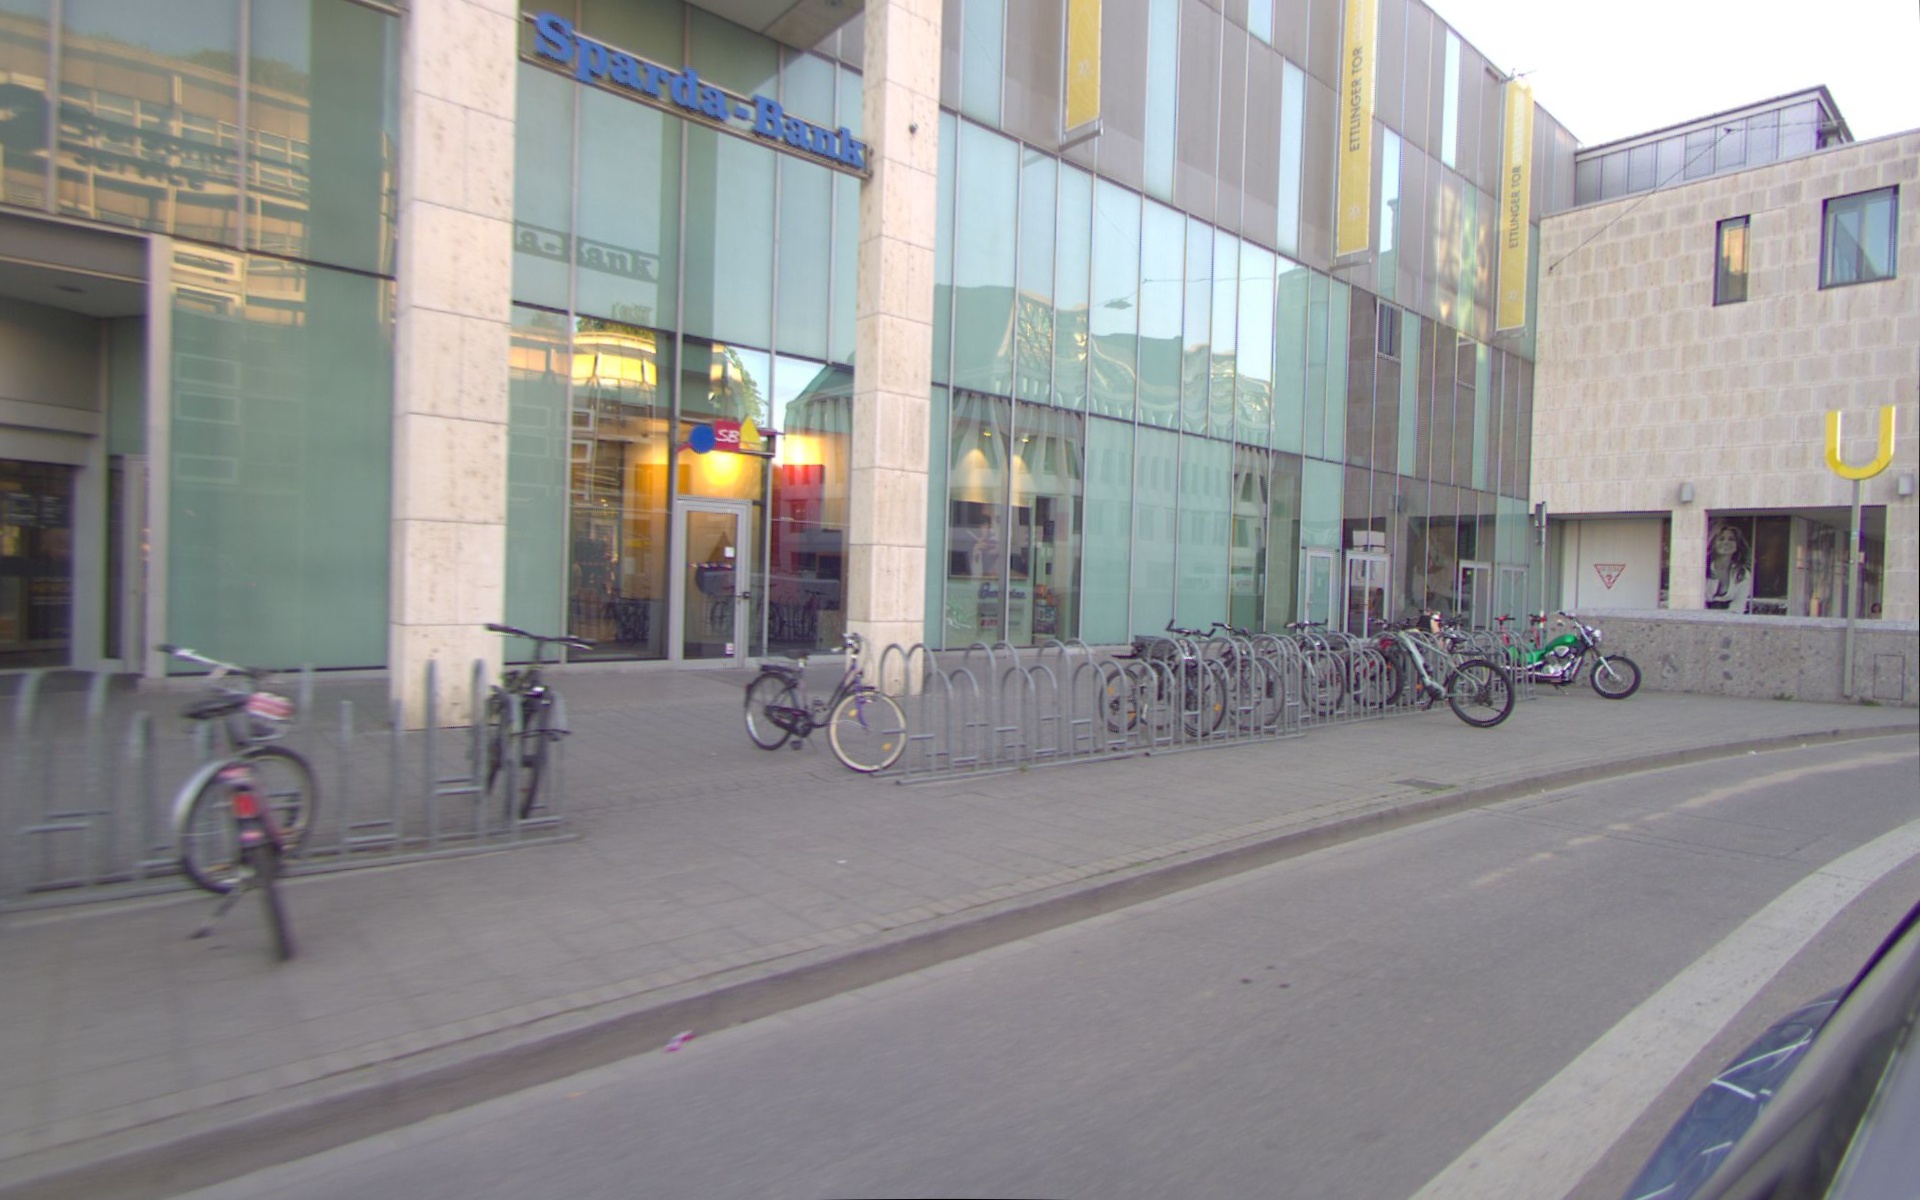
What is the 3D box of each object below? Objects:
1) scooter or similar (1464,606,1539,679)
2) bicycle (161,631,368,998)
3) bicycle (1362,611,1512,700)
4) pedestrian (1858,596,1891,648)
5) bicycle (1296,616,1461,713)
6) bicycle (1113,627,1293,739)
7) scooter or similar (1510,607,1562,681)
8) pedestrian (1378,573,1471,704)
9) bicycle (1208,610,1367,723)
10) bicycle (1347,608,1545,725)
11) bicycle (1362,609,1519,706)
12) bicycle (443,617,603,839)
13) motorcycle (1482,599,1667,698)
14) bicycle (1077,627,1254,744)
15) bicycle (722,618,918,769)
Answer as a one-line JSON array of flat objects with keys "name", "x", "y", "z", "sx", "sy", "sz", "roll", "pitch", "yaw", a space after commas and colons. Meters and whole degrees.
[{"name": "scooter or similar", "x": 9.858, "y": 0.765, "z": 18.445, "sx": 1.099, "sy": 1.273, "sz": 0.398, "roll": 1, "pitch": 0, "yaw": 12}, {"name": "bicycle", "x": -2.882, "y": 0.721, "z": 4.202, "sx": 0.560, "sy": 1.060, "sz": 1.905, "roll": 1, "pitch": 2, "yaw": -35}, {"name": "bicycle", "x": 7.044, "y": 0.784, "z": 15.044, "sx": 0.506, "sy": 1.143, "sz": 1.995, "roll": 1, "pitch": 2, "yaw": -35}, {"name": "pedestrian", "x": 28.742, "y": 0.691, "z": 31.807, "sx": 0.761, "sy": 1.587, "sz": 0.635, "roll": 3, "pitch": 0, "yaw": -42}, {"name": "bicycle", "x": 5.371, "y": 0.789, "z": 13.123, "sx": 0.545, "sy": 1.144, "sz": 1.994, "roll": 1, "pitch": -1, "yaw": -35}, {"name": "bicycle", "x": 2.445, "y": 0.804, "z": 10.381, "sx": 0.507, "sy": 0.948, "sz": 1.811, "roll": 1, "pitch": 2, "yaw": -41}, {"name": "scooter or similar", "x": 10.227, "y": 0.775, "z": 17.957, "sx": 0.851, "sy": 1.273, "sz": 0.399, "roll": 1, "pitch": 1, "yaw": -30}, {"name": "pedestrian", "x": 6.547, "y": 0.514, "z": 14.273, "sx": 0.803, "sy": 1.757, "sz": 0.839, "roll": 1, "pitch": 1, "yaw": -33}, {"name": "bicycle", "x": 3.778, "y": 0.730, "z": 11.824, "sx": 0.507, "sy": 1.143, "sz": 1.770, "roll": 1, "pitch": 2, "yaw": -37}, {"name": "bicycle", "x": 5.506, "y": 0.706, "z": 11.601, "sx": 0.560, "sy": 1.143, "sz": 1.995, "roll": 1, "pitch": 2, "yaw": -35}, {"name": "bicycle", "x": 6.800, "y": 0.771, "z": 14.433, "sx": 0.506, "sy": 1.193, "sz": 1.995, "roll": 1, "pitch": 2, "yaw": -35}, {"name": "bicycle", "x": -2.678, "y": 0.667, "z": 6.093, "sx": 0.589, "sy": 1.114, "sz": 1.823, "roll": 1, "pitch": -1, "yaw": -33}, {"name": "motorcycle", "x": 9.552, "y": 0.699, "z": 15.815, "sx": 0.892, "sy": 1.349, "sz": 2.301, "roll": 1, "pitch": 2, "yaw": -43}, {"name": "bicycle", "x": 1.979, "y": 0.792, "z": 9.963, "sx": 0.507, "sy": 0.948, "sz": 1.741, "roll": 1, "pitch": 2, "yaw": -41}, {"name": "bicycle", "x": -1.184, "y": 0.711, "z": 8.346, "sx": 1.700, "sy": 1.036, "sz": 0.592, "roll": 3, "pitch": 2, "yaw": 39}]
